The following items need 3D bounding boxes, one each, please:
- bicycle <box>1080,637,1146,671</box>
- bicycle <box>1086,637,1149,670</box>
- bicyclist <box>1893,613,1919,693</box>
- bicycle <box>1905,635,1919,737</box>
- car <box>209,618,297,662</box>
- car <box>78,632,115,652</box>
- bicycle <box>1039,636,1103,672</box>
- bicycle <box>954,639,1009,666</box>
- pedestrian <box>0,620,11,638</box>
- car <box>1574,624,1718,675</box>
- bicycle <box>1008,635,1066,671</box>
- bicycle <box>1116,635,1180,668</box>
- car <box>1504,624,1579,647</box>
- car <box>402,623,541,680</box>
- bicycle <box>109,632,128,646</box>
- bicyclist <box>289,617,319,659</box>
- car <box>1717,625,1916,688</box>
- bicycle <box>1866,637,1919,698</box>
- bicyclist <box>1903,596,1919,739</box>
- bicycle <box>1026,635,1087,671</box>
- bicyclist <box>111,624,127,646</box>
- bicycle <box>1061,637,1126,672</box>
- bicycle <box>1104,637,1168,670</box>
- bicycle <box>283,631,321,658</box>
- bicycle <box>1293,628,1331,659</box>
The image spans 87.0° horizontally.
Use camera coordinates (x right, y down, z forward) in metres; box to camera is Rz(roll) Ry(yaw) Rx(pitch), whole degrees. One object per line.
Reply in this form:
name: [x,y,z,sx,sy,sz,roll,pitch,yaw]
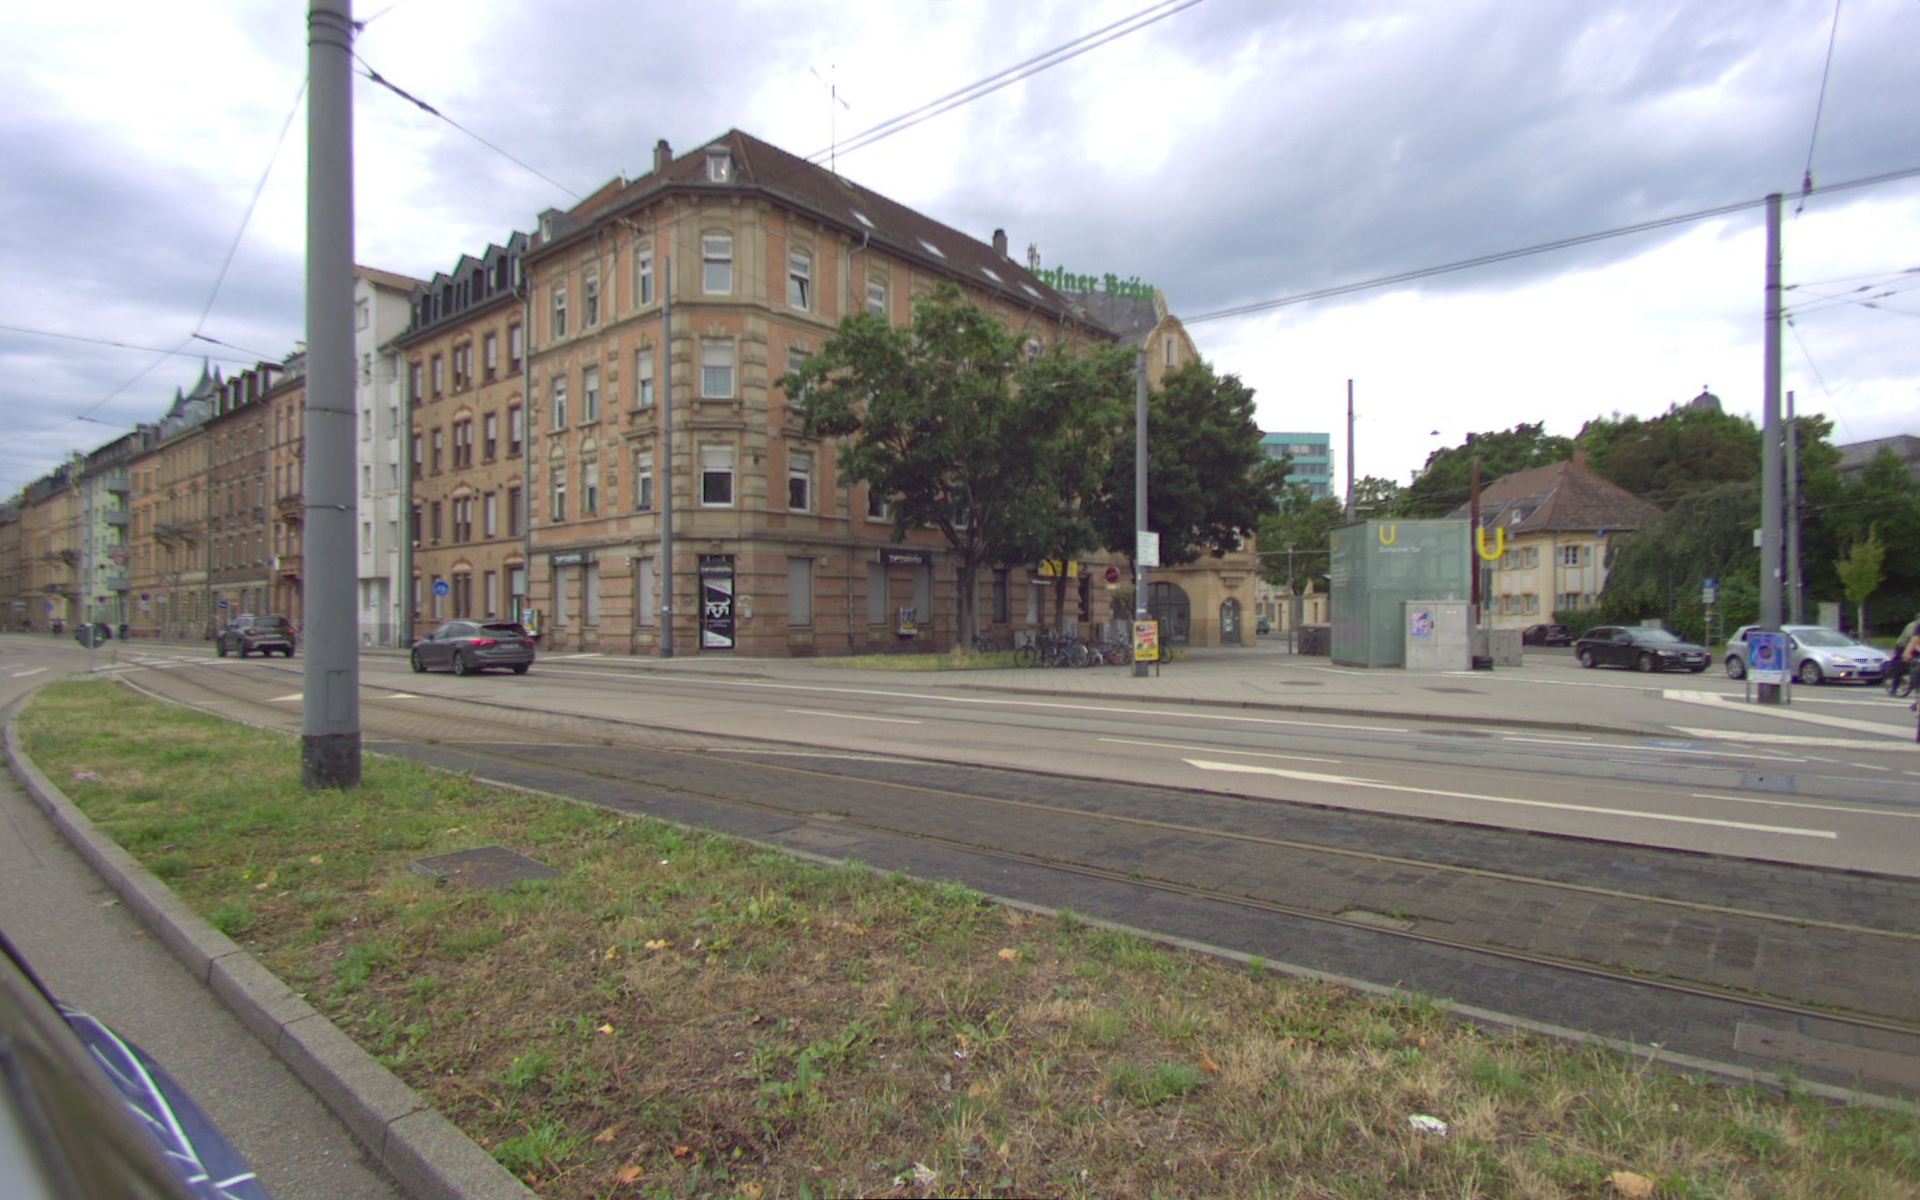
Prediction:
bicycle: [4.800,1.692,31.838,0.601,0.994,2.224,0,-1,-39]
bicycle: [5.033,1.691,32.496,0.492,0.994,2.224,0,-1,-39]
bicyclist: [19.963,1.085,20.715,0.843,1.635,0.917,0,-2,1]
bicycle: [12.730,1.086,12.993,0.816,1.252,1.971,-3,-4,43]
car: [-27.908,1.534,39.909,4.225,1.652,1.780,-1,-1,39]
car: [-68.730,3.307,80.532,3.828,1.491,1.828,-1,-2,43]
bicycle: [3.315,1.605,30.508,0.472,1.014,2.224,0,-1,-39]
bicycle: [0.809,1.973,38.001,1.982,0.921,0.655,-4,-5,31]
pedestrian: [-104.854,3.193,111.173,0.733,2.029,0.804,-1,-2,41]
car: [21.796,1.525,32.381,1.673,1.460,4.144,-1,-1,-1]
bicycle: [2.247,1.545,29.755,0.492,0.994,1.872,1,-2,-41]
bicycle: [6.357,1.731,34.284,0.678,1.047,2.224,0,-1,-39]
car: [35.611,2.162,62.089,1.904,1.298,4.006,0,-1,-7]
car: [-13.258,1.348,27.357,4.387,1.406,1.676,-1,-2,39]
bicycle: [-57.385,2.676,69.032,1.716,0.922,0.600,-1,-1,37]
bicyclist: [-30.176,1.730,46.541,1.048,1.906,0.821,-2,-3,39]
car: [21.897,1.388,26.135,1.739,1.465,4.156,-1,-1,4]
bicycle: [19.959,1.384,20.714,0.845,1.217,2.197,0,-1,1]
bicyclist: [12.780,0.856,13.052,0.816,1.812,1.015,-3,-3,43]
bicycle: [2.863,1.563,30.182,0.513,0.994,2.041,0,-1,-39]
bicyclist: [-57.343,2.370,69.003,0.941,1.506,0.655,-1,-1,37]
bicycle: [4.032,1.639,30.840,0.492,0.994,2.224,0,-1,-39]
bicycle: [5.757,1.732,33.159,0.576,0.994,2.224,0,-1,-39]
bicycle: [-30.362,2.033,46.686,2.232,1.217,0.816,-2,-3,40]
bicycle: [13.932,1.707,40.127,0.730,1.123,2.361,-1,-1,3]
